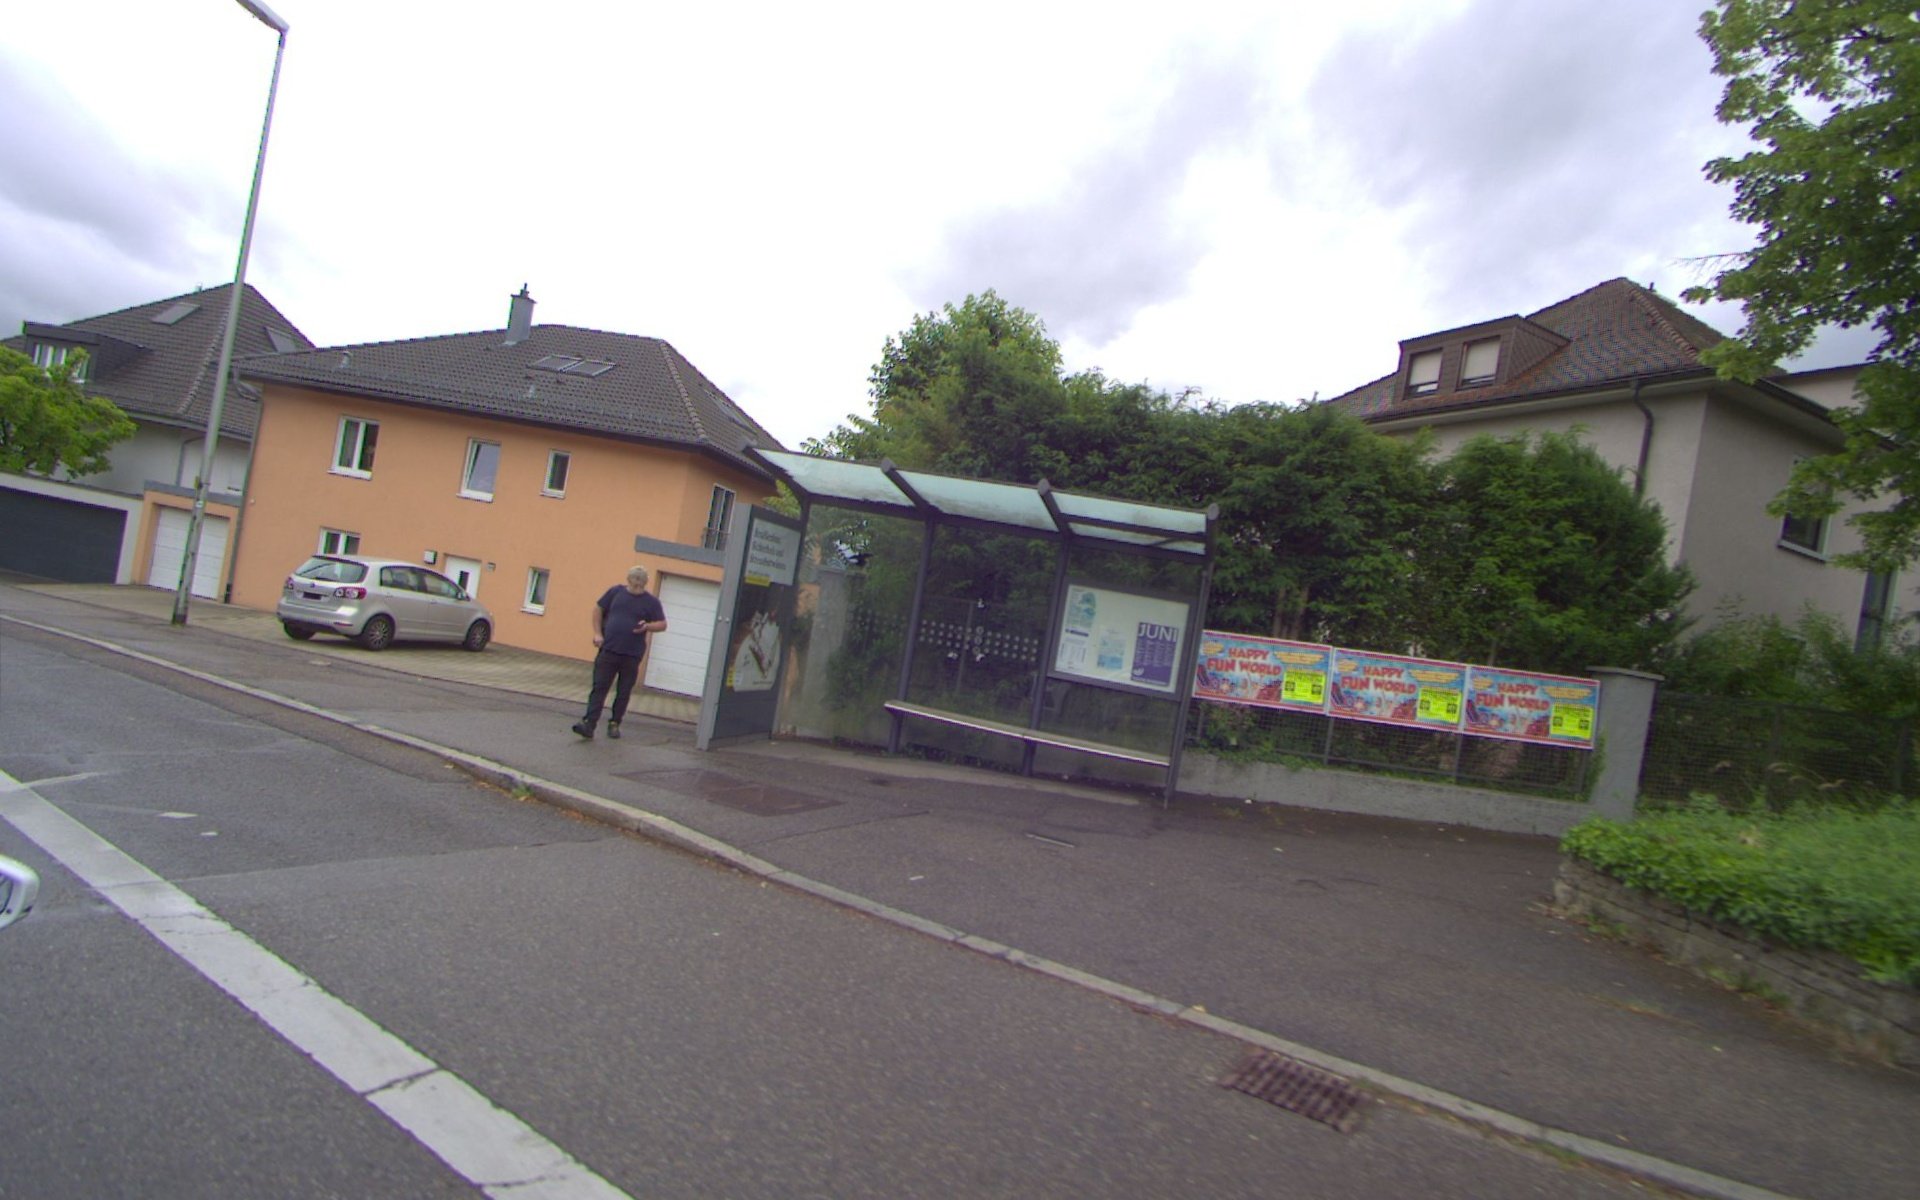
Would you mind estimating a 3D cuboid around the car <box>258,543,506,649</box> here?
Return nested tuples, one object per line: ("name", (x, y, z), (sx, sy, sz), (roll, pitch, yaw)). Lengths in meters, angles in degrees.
("car", (-10.499, 0.015, 18.628), (1.694, 1.585, 3.874), (7, -1, 12))

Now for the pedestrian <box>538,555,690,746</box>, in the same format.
("pedestrian", (-3.360, 0.481, 9.885), (0.911, 1.675, 1.098), (7, 0, 1))
